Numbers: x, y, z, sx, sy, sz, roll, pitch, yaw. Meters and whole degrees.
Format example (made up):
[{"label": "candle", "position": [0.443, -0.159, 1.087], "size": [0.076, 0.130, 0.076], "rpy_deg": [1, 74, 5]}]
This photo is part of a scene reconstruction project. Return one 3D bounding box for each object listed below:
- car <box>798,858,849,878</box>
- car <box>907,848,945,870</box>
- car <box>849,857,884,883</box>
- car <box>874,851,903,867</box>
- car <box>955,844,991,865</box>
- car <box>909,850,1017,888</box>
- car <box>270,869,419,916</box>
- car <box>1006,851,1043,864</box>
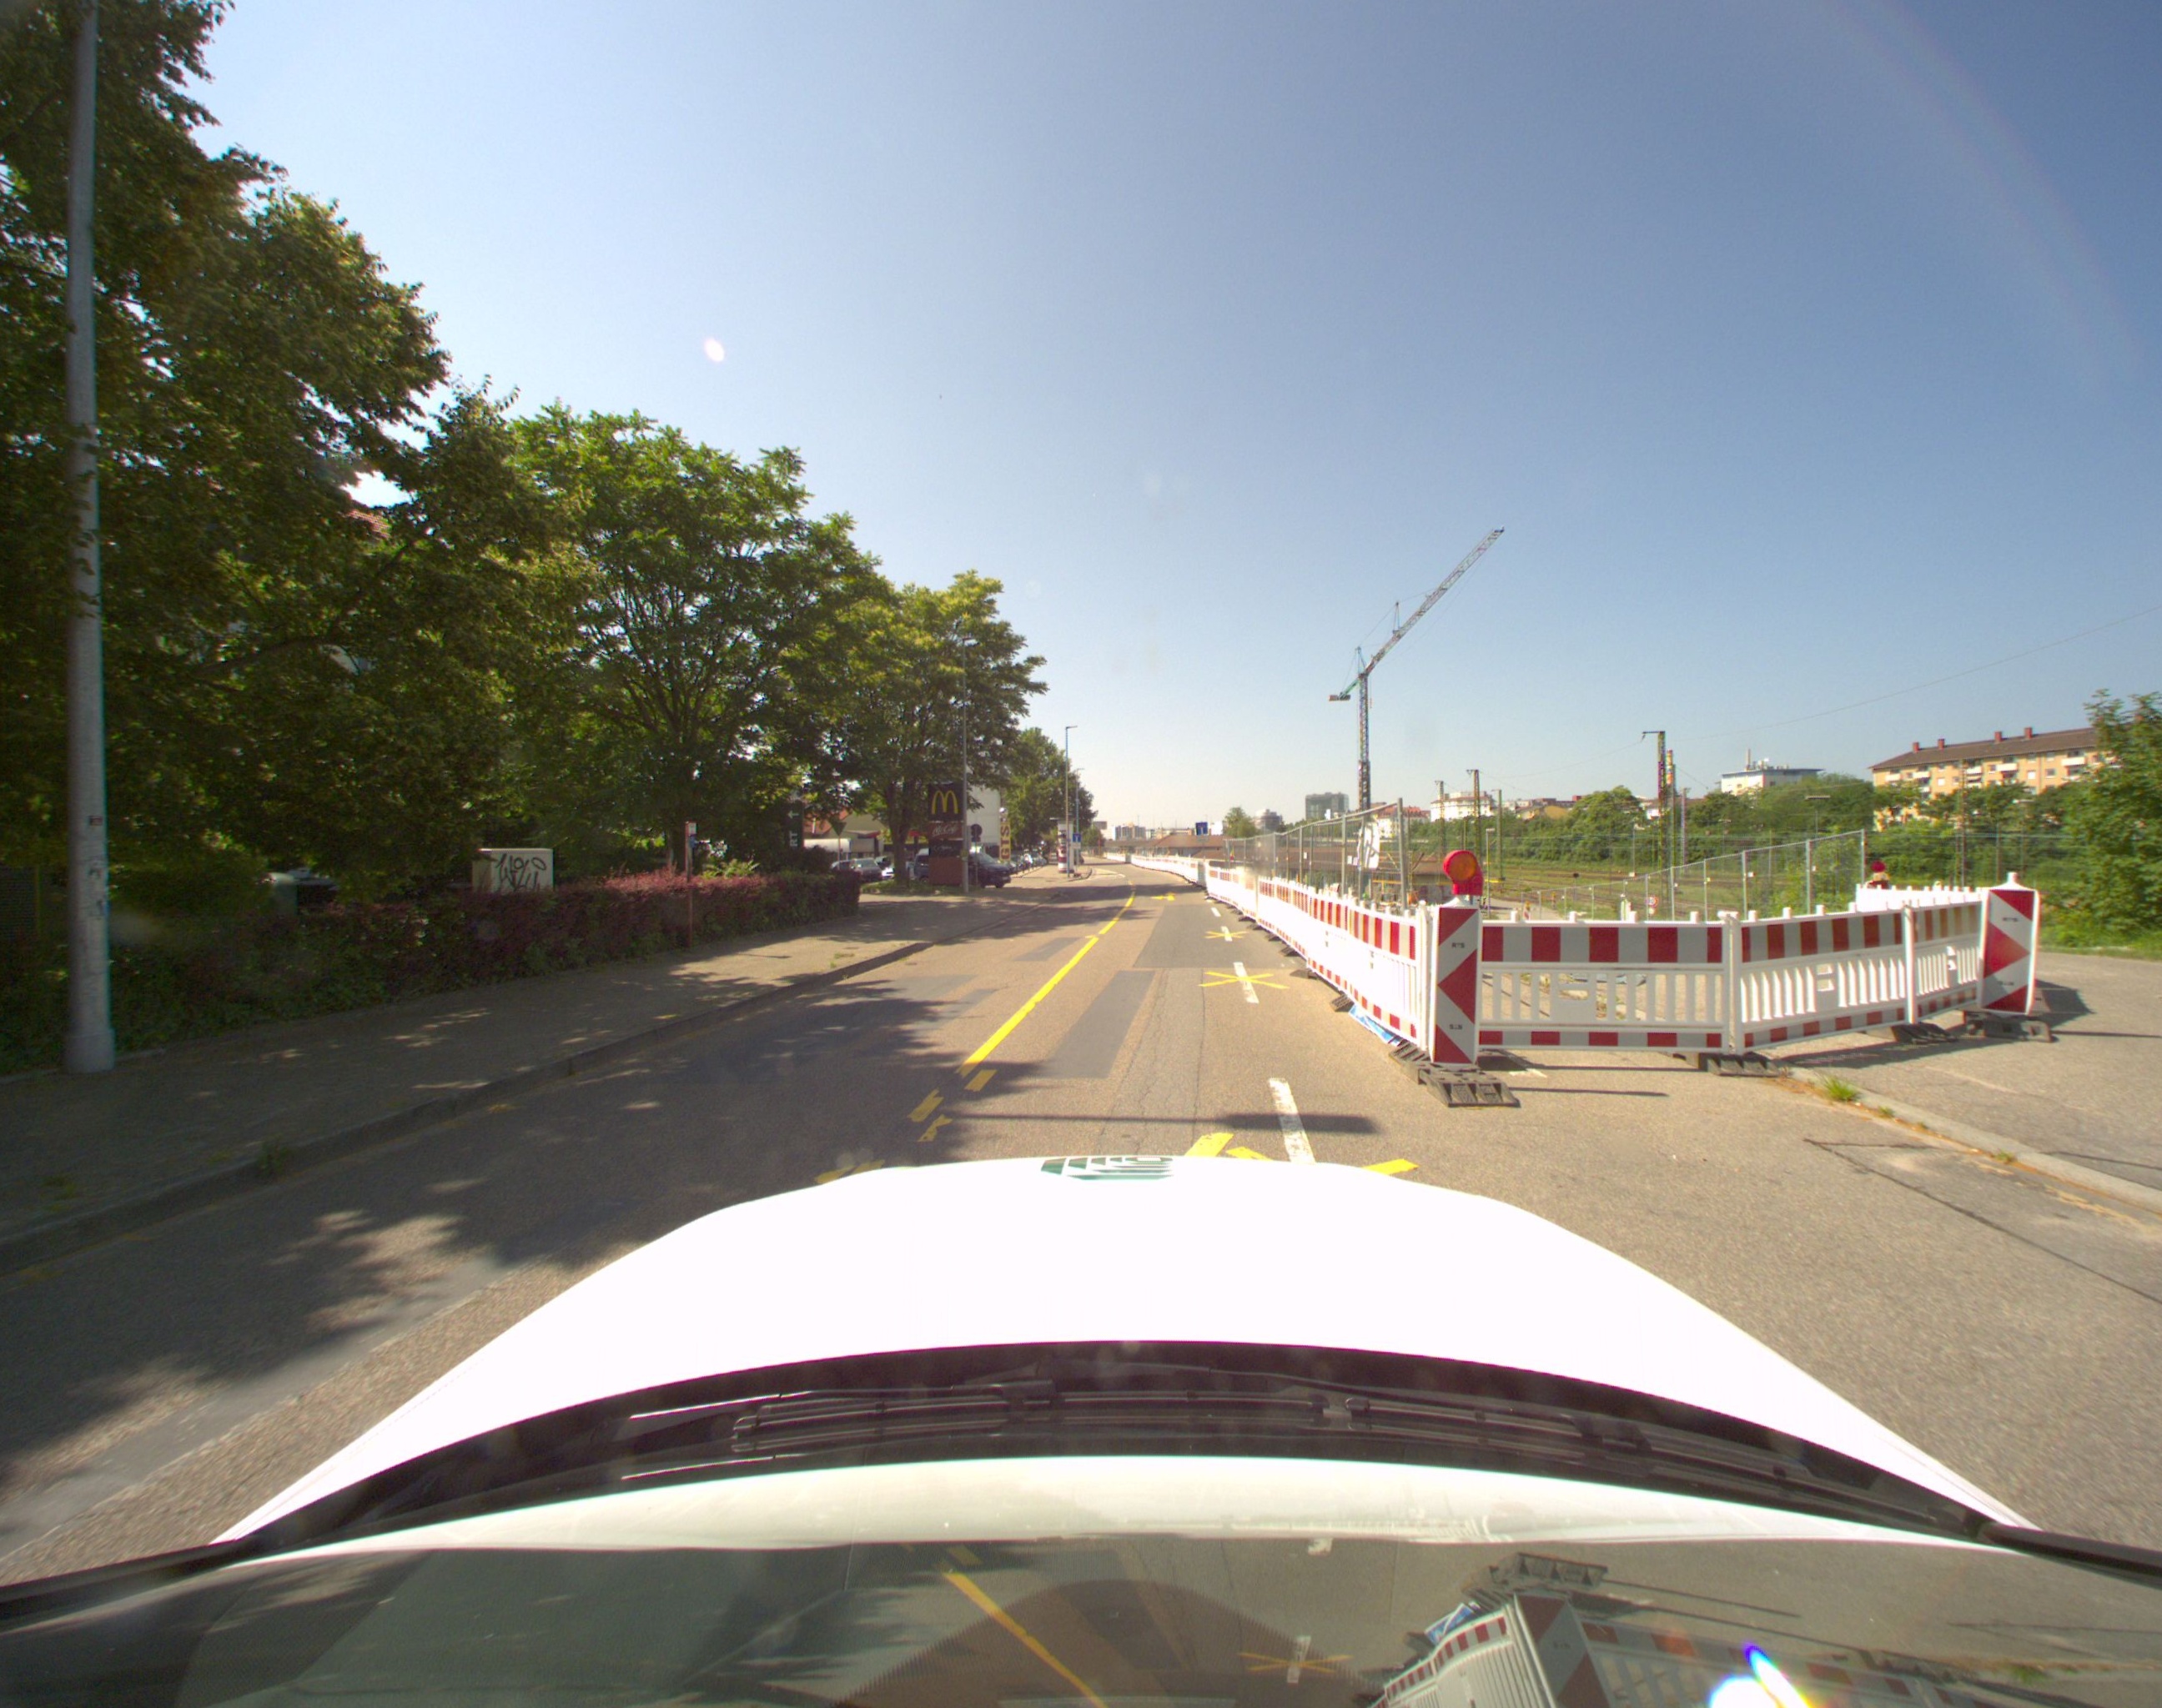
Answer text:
[{"label": "car", "position": [-19.550, 1.025, 61.804], "size": [3.688, 1.421, 1.562], "rpy_deg": [0, 0, -20]}, {"label": "car", "position": [-13.688, 0.454, 71.762], "size": [2.006, 1.904, 3.961], "rpy_deg": [0, 0, -31]}, {"label": "car", "position": [-15.027, 1.106, 56.969], "size": [2.001, 1.728, 3.972], "rpy_deg": [-1, 0, -21]}, {"label": "car", "position": [-16.879, 0.436, 71.440], "size": [1.576, 1.421, 3.654], "rpy_deg": [0, 0, -28]}, {"label": "car", "position": [-10.046, 0.033, 75.480], "size": [1.835, 1.929, 3.961], "rpy_deg": [0, 0, -31]}, {"label": "car", "position": [-6.230, 0.792, 42.900], "size": [5.315, 1.935, 2.012], "rpy_deg": [-1, 0, 25]}, {"label": "car", "position": [-21.865, 1.131, 24.215], "size": [3.567, 1.300, 1.642], "rpy_deg": [-1, 0, 17]}, {"label": "car", "position": [-6.202, 0.409, 89.664], "size": [3.644, 1.421, 1.581], "rpy_deg": [-1, 0, 21]}]
